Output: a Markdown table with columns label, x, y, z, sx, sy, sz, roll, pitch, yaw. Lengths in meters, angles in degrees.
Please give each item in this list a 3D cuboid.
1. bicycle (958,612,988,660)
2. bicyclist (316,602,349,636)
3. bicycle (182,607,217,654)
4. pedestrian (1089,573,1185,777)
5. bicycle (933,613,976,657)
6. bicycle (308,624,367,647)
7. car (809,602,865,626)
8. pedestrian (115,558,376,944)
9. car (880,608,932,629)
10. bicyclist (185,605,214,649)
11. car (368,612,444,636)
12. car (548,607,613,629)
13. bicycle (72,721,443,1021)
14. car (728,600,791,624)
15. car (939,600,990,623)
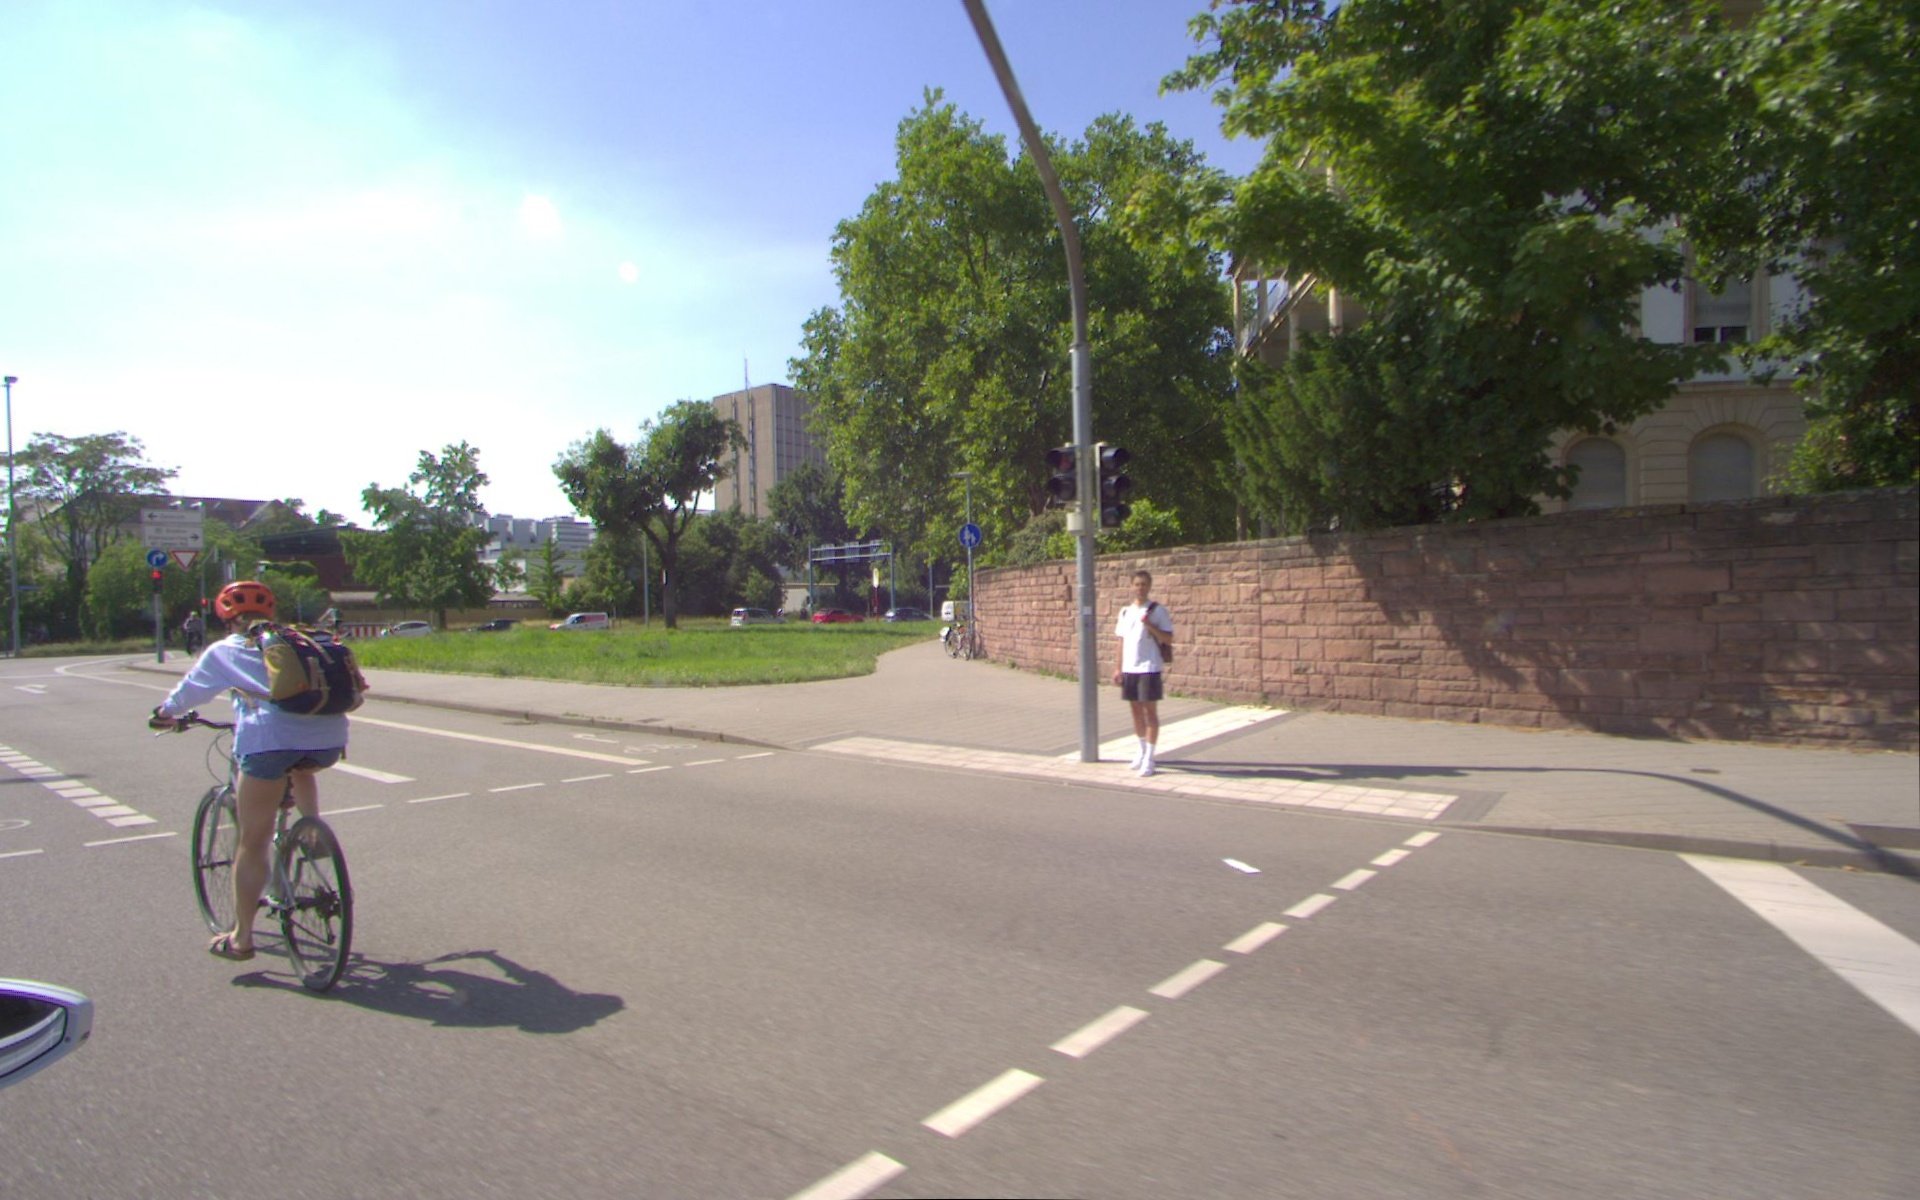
| label | x | y | z | sx | sy | sz | roll | pitch | yaw |
| --- | --- | --- | --- | --- | --- | --- | --- | --- | --- |
| bicycle | 0.314 | 0.888 | 24.982 | 0.343 | 1.138 | 1.433 | -1 | 1 | -16 |
| bicyclist | -27.479 | 0.845 | 43.873 | 1.120 | 1.489 | 0.496 | 0 | -1 | -3 |
| bicycle | -29.349 | 1.163 | 38.643 | 1.789 | 1.789 | 0.675 | -1 | 1 | 40 |
| pedestrian | 1.735 | 0.698 | 9.763 | 0.783 | 1.900 | 0.652 | -1 | 2 | 21 |
| bicycle | -0.152 | 0.910 | 26.598 | 0.345 | 1.138 | 1.425 | -2 | 1 | -36 |
| bicycle | -27.299 | 1.545 | 43.926 | 2.127 | 0.928 | 0.674 | -1 | 1 | -3 |
| car | -8.952 | 1.034 | 73.251 | 1.732 | 1.526 | 3.972 | -1 | -4 | 40 |
| pedestrian | -3.118 | 0.595 | 4.367 | 0.999 | 1.485 | 0.582 | -1 | -1 | 31 |
| car | -4.199 | 1.442 | 78.532 | 1.734 | 1.493 | 3.963 | -1 | 1 | 43 |
| bicyclist | -29.363 | 1.027 | 38.671 | 0.908 | 1.677 | 0.675 | 0 | 1 | 40 |
| car | -37.104 | 1.596 | 67.150 | 1.977 | 1.483 | 3.969 | -2 | -1 | 39 |
| car | -28.855 | 1.353 | 76.186 | 1.887 | 1.590 | 4.290 | -1 | 0 | 39 |
| bicycle | -3.130 | 1.069 | 4.391 | 1.999 | 0.943 | 0.595 | -1 | -1 | 32 |
| car | -13.664 | 0.782 | 68.411 | 1.732 | 1.528 | 3.968 | -1 | 1 | 40 |
| car | 0.387 | 0.957 | 83.622 | 1.734 | 1.781 | 4.392 | 0 | 1 | 43 |
